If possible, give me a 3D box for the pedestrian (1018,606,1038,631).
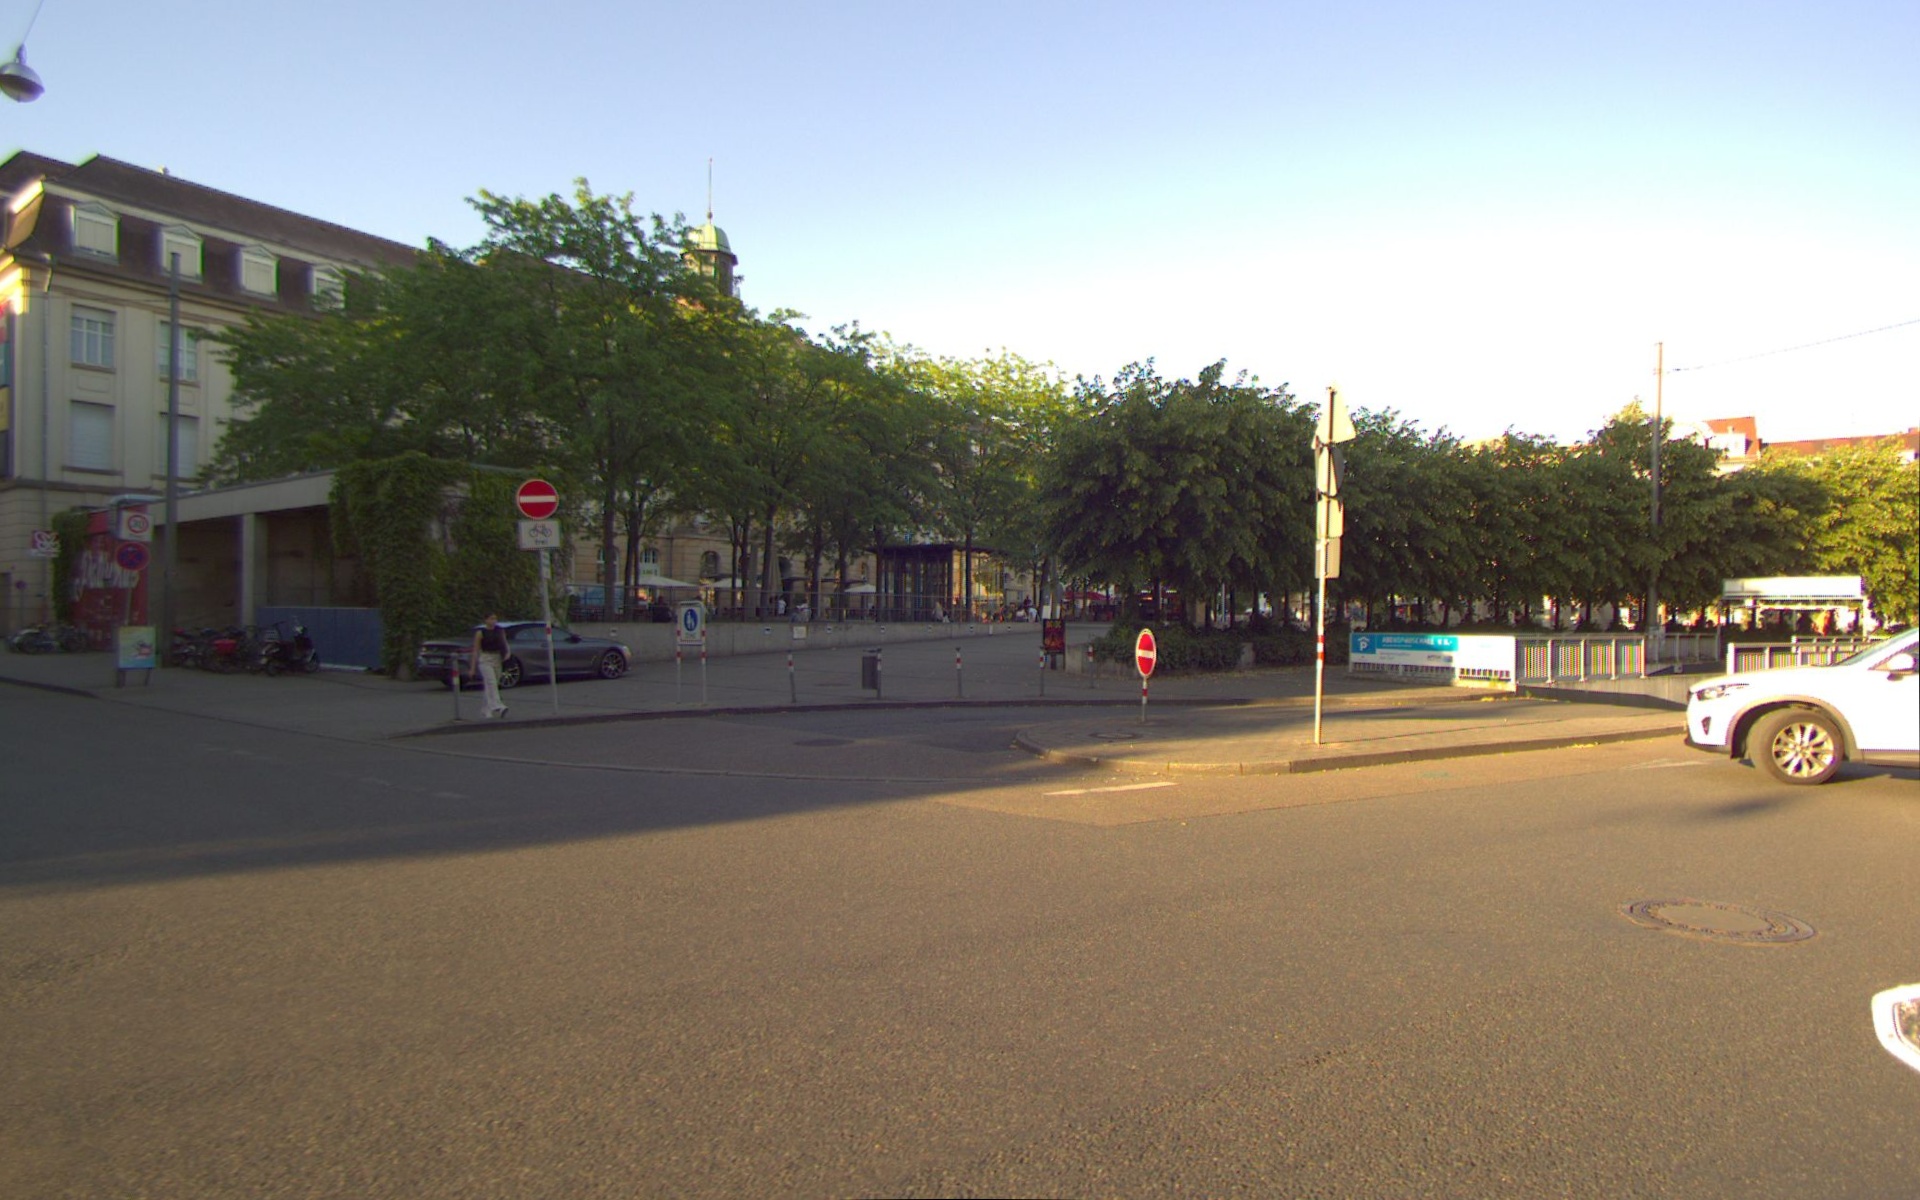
[{"bbox_3d":[3.097,0.859,45.957,0.703,1.134,0.609,0,0,35],"label":"pedestrian"}]

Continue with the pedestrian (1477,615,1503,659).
[{"bbox_3d":[19.881,1.371,37.667,0.558,1.616,0.678,1,0,-11],"label":"pedestrian"}]

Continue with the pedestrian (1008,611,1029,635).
[{"bbox_3d":[2.643,1.016,45.315,0.703,1.073,0.609,0,-1,35],"label":"pedestrian"}]

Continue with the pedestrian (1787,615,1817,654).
[{"bbox_3d":[35.576,1.462,42.432,0.558,1.616,0.791,1,0,-11],"label":"pedestrian"}]

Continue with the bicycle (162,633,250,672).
[{"bbox_3d":[-20.050,1.379,26.736,0.503,0.935,1.797,0,0,38],"label":"bicycle"}]

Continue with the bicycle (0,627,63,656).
[{"bbox_3d":[-34.749,1.551,37.523,0.503,1.021,1.794,0,0,43],"label":"bicycle"}]

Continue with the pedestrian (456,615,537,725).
[{"bbox_3d":[-6.915,1.015,14.984,0.885,1.587,0.765,-1,-1,35],"label":"pedestrian"}]

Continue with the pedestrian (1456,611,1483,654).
[{"bbox_3d":[19.570,1.243,38.579,0.558,1.616,0.791,1,0,-11],"label":"pedestrian"}]

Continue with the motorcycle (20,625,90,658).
[{"bbox_3d":[-32.061,1.459,35.607,0.503,1.093,1.797,0,0,38],"label":"motorcycle"}]

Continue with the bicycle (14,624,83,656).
[{"bbox_3d":[-32.656,1.430,36.013,0.503,1.093,1.795,0,0,41],"label":"bicycle"}]

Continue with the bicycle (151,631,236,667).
[{"bbox_3d":[-21.081,1.333,27.653,1.776,0.935,0.509,0,0,-18],"label":"bicycle"}]

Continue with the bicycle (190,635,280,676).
[{"bbox_3d":[-18.260,1.377,25.347,0.501,0.935,1.801,0,0,29],"label":"bicycle"}]

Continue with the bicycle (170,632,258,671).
[{"bbox_3d":[-19.526,1.329,26.316,0.503,0.935,1.797,0,0,38],"label":"bicycle"}]

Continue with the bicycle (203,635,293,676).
[{"bbox_3d":[-17.707,1.360,25.025,0.501,0.935,1.803,0,0,26],"label":"bicycle"}]

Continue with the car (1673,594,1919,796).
[{"bbox_3d":[9.452,0.850,9.283,1.986,1.784,4.408,1,-1,-43],"label":"car"}]

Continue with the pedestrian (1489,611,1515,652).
[{"bbox_3d":[21.983,1.268,40.752,0.558,1.616,0.791,1,0,-11],"label":"pedestrian"}]

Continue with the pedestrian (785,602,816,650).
[{"bbox_3d":[-5.403,0.880,34.039,0.778,1.607,0.652,0,-2,35],"label":"pedestrian"}]

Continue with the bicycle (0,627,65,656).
[{"bbox_3d":[-34.306,1.517,37.114,0.503,1.021,1.794,0,0,43],"label":"bicycle"}]

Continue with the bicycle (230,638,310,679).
[{"bbox_3d":[-16.852,1.410,24.579,0.500,0.892,1.805,0,0,9],"label":"bicycle"}]

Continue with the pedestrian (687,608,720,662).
[{"bbox_3d":[-7.815,1.067,30.630,0.612,1.607,0.699,0,-2,36],"label":"pedestrian"}]

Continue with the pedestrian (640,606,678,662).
[{"bbox_3d":[-8.814,0.992,29.400,0.679,1.607,0.767,0,-2,36],"label":"pedestrian"}]

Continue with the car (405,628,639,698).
[{"bbox_3d":[-9.551,1.305,22.305,1.964,1.335,4.521,-1,-1,29],"label":"car"}]

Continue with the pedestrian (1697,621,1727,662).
[{"bbox_3d":[30.382,1.684,40.569,0.665,1.616,0.678,1,0,-11],"label":"pedestrian"}]

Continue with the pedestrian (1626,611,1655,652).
[{"bbox_3d":[26.704,1.233,39.423,0.665,1.616,0.678,1,0,-11],"label":"pedestrian"}]

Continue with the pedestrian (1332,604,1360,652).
[{"bbox_3d":[13.280,0.961,34.545,0.693,1.616,0.673,1,0,42],"label":"pedestrian"}]

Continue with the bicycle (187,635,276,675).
[{"bbox_3d":[-18.751,1.391,25.894,0.501,0.935,1.801,0,0,29],"label":"bicycle"}]

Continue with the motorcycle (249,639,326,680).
[{"bbox_3d":[-16.089,1.410,24.090,0.500,0.892,1.805,0,0,6],"label":"motorcycle"}]

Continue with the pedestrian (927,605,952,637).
[{"bbox_3d":[-0.844,0.861,40.868,0.778,1.296,0.652,0,-2,35],"label":"pedestrian"}]

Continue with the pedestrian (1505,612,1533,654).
[{"bbox_3d":[22.111,1.297,39.737,0.558,1.616,0.791,1,0,-11],"label":"pedestrian"}]
